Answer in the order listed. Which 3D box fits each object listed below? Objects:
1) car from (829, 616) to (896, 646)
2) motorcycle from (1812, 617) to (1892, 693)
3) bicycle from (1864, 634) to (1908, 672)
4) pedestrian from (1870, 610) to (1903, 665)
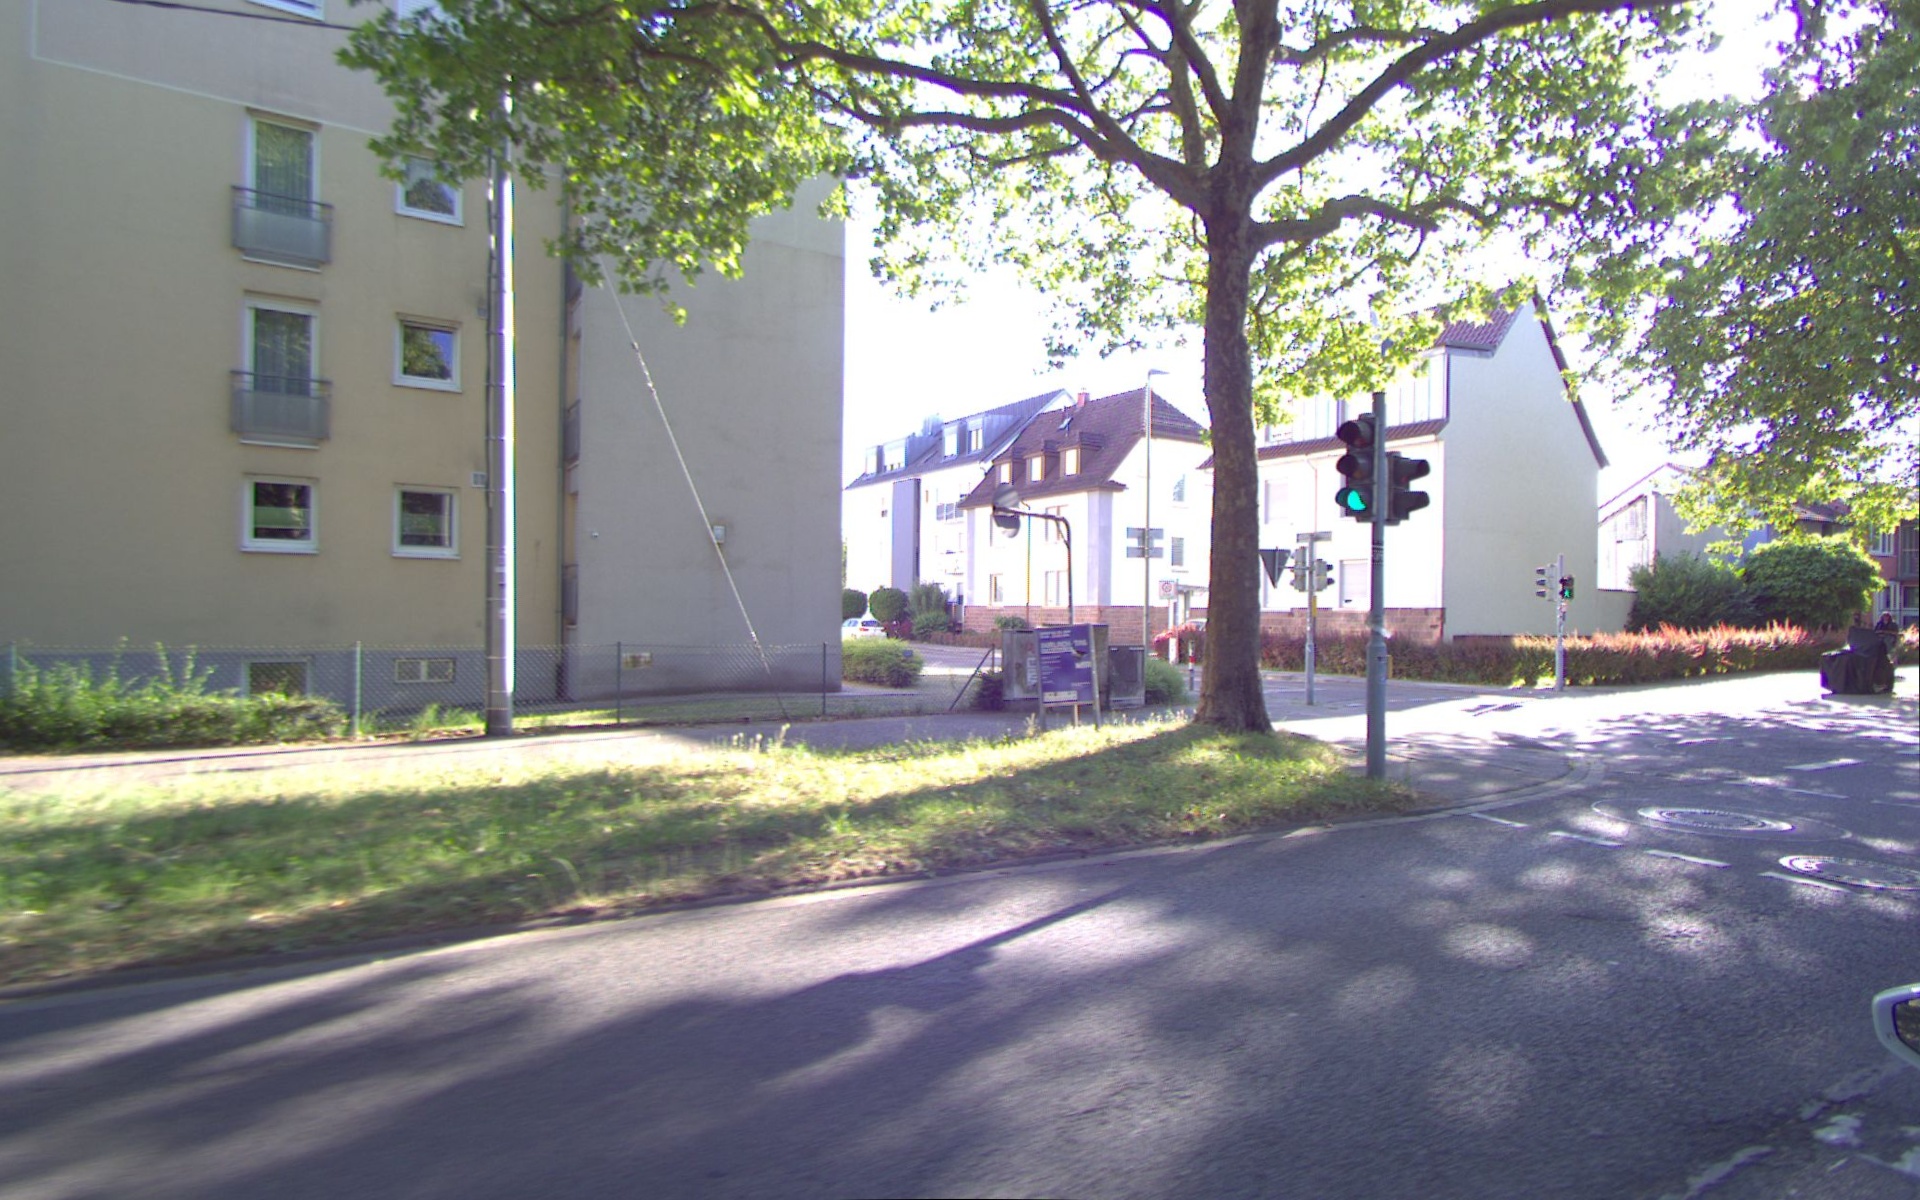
[{"bbox_3d":[-5.210,1.626,53.290,1.978,1.507,3.965,1,-1,-32],"label":"car"},{"bbox_3d":[21.167,1.272,23.827,2.367,1.660,0.973,-1,1,-37],"label":"motorcycle"},{"bbox_3d":[26.892,1.544,29.161,2.131,1.055,0.506,2,-1,-35],"label":"bicycle"},{"bbox_3d":[26.914,1.102,29.185,1.024,1.551,0.506,3,-2,-36],"label":"pedestrian"}]
